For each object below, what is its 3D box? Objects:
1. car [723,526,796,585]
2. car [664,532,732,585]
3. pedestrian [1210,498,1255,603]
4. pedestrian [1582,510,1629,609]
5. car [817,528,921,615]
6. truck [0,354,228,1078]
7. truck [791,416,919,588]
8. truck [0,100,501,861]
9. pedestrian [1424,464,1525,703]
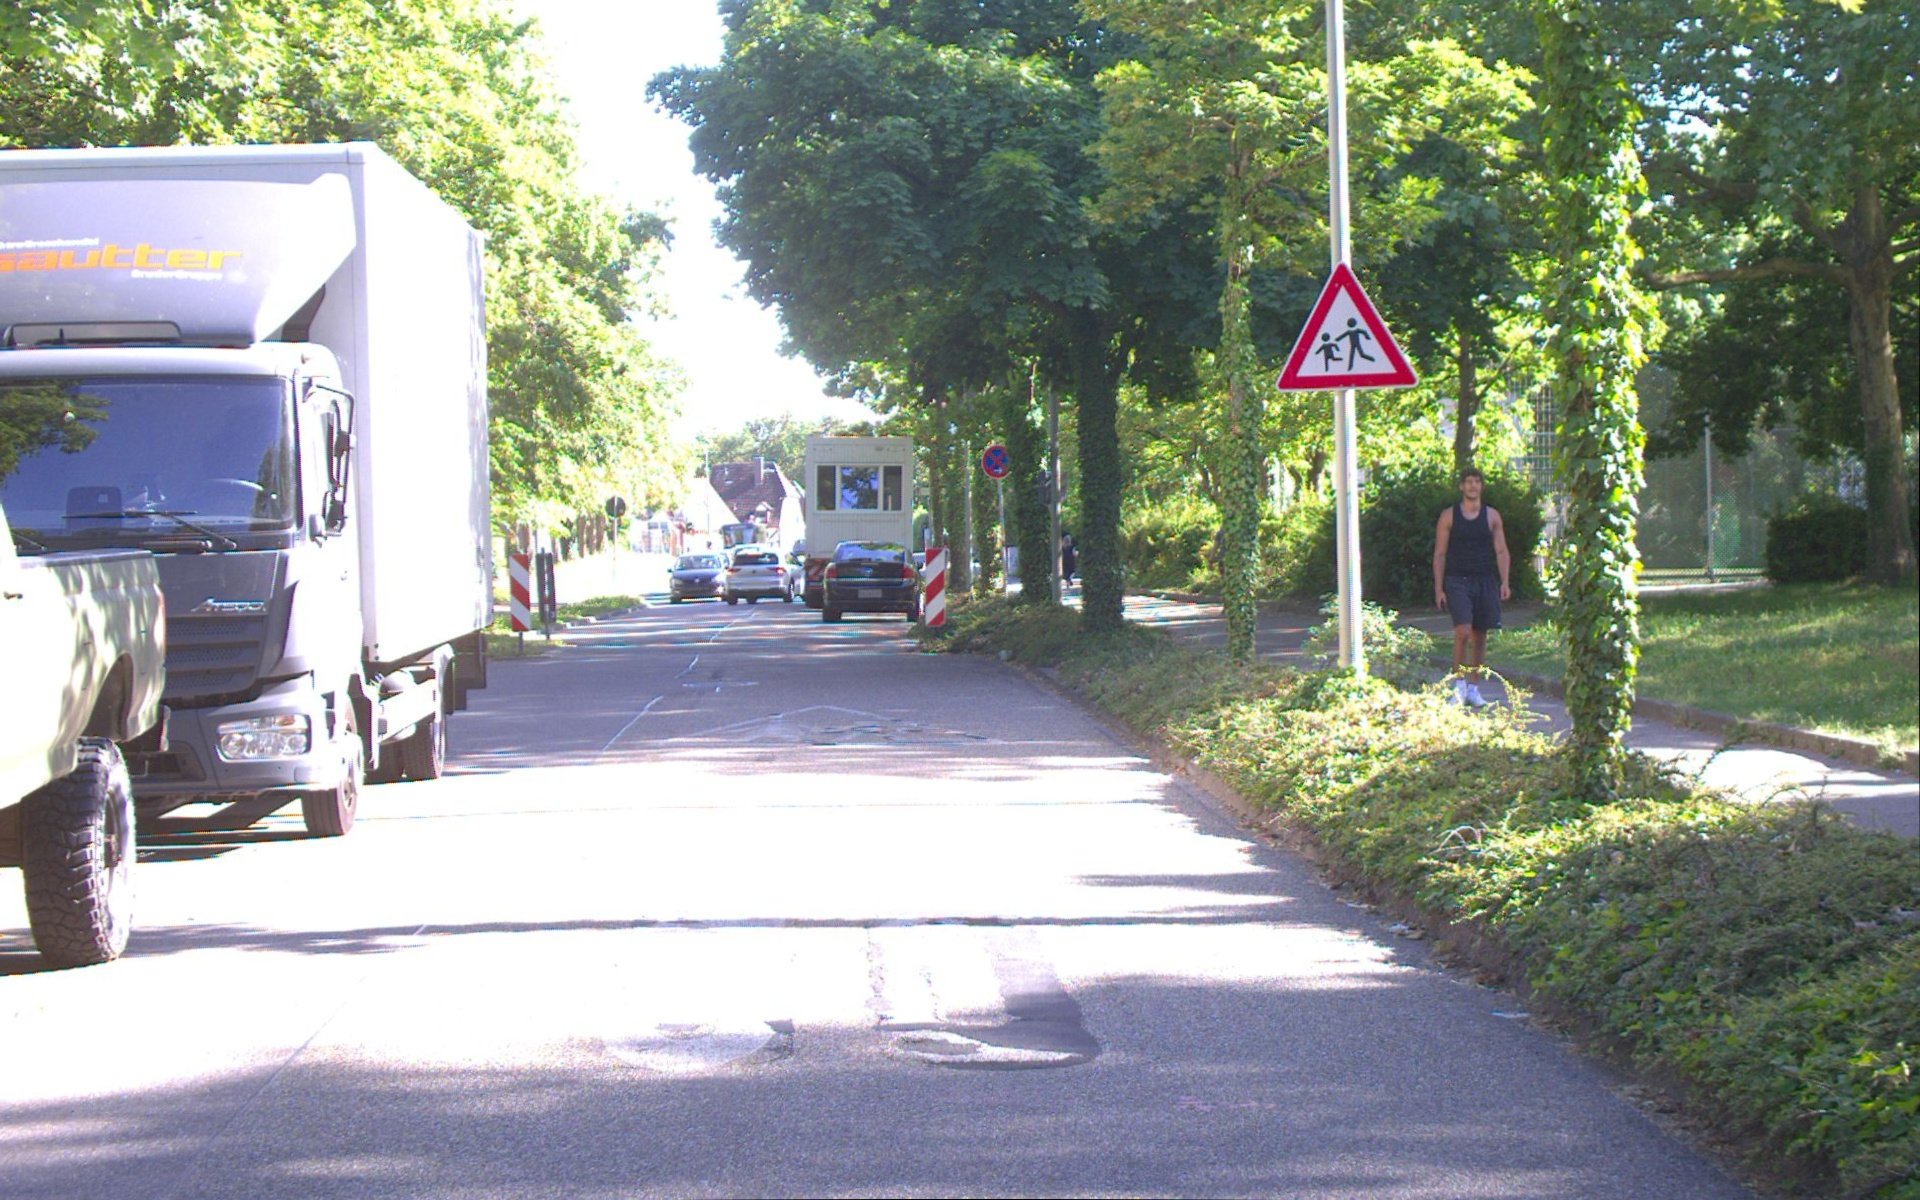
[{"bbox_3d":[-5.344,-1.205,91.985,1.794,1.505,4.000,-1,1,-2],"label":"car"},{"bbox_3d":[-7.676,-1.231,100.882,1.794,1.505,4.000,-1,1,-2],"label":"car"},{"bbox_3d":[4.351,-0.789,54.903,0.648,1.655,0.650,-1,1,-1],"label":"pedestrian"},{"bbox_3d":[10.889,-0.688,58.037,0.648,1.655,0.650,-1,1,-1],"label":"pedestrian"},{"bbox_3d":[-1.657,-0.541,62.347,1.794,1.505,4.000,-1,1,-2],"label":"car"},{"bbox_3d":[-3.884,0.334,10.707,2.113,2.087,6.649,-1,1,-3],"label":"truck"},{"bbox_3d":[-2.573,-2.406,84.557,2.887,3.931,10.001,-1,2,-2],"label":"truck"},{"bbox_3d":[-4.420,-0.640,20.459,2.614,3.614,7.958,-1,1,-3],"label":"truck"},{"bbox_3d":[3.963,-0.134,26.512,0.648,1.814,0.650,-1,1,-2],"label":"pedestrian"}]
